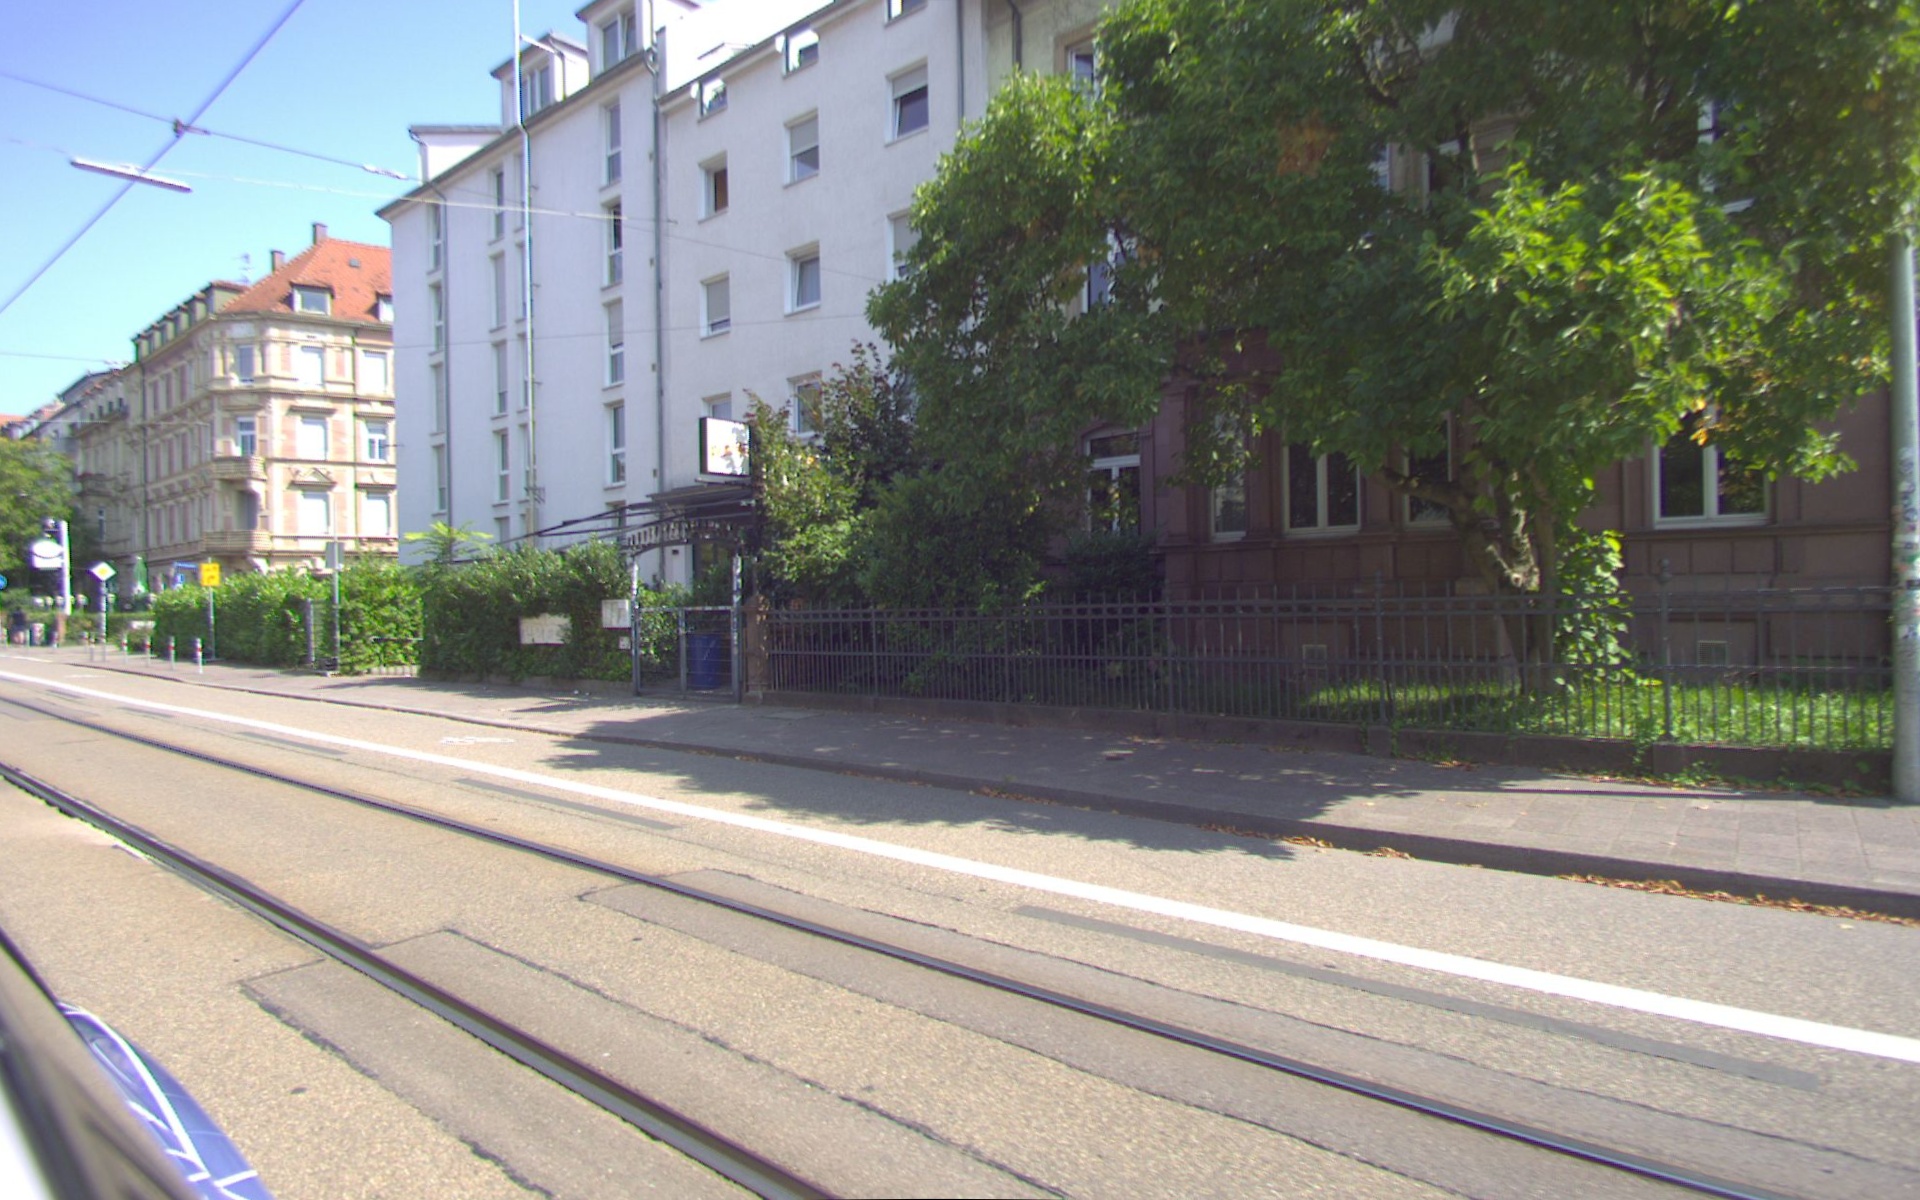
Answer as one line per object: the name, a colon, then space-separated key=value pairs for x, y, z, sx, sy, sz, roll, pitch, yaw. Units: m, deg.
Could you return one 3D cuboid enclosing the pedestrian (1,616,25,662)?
pedestrian: x=-42.931 y=1.762 z=45.882 sx=0.973 sy=2.029 sz=0.649 roll=-2 pitch=-2 yaw=37
